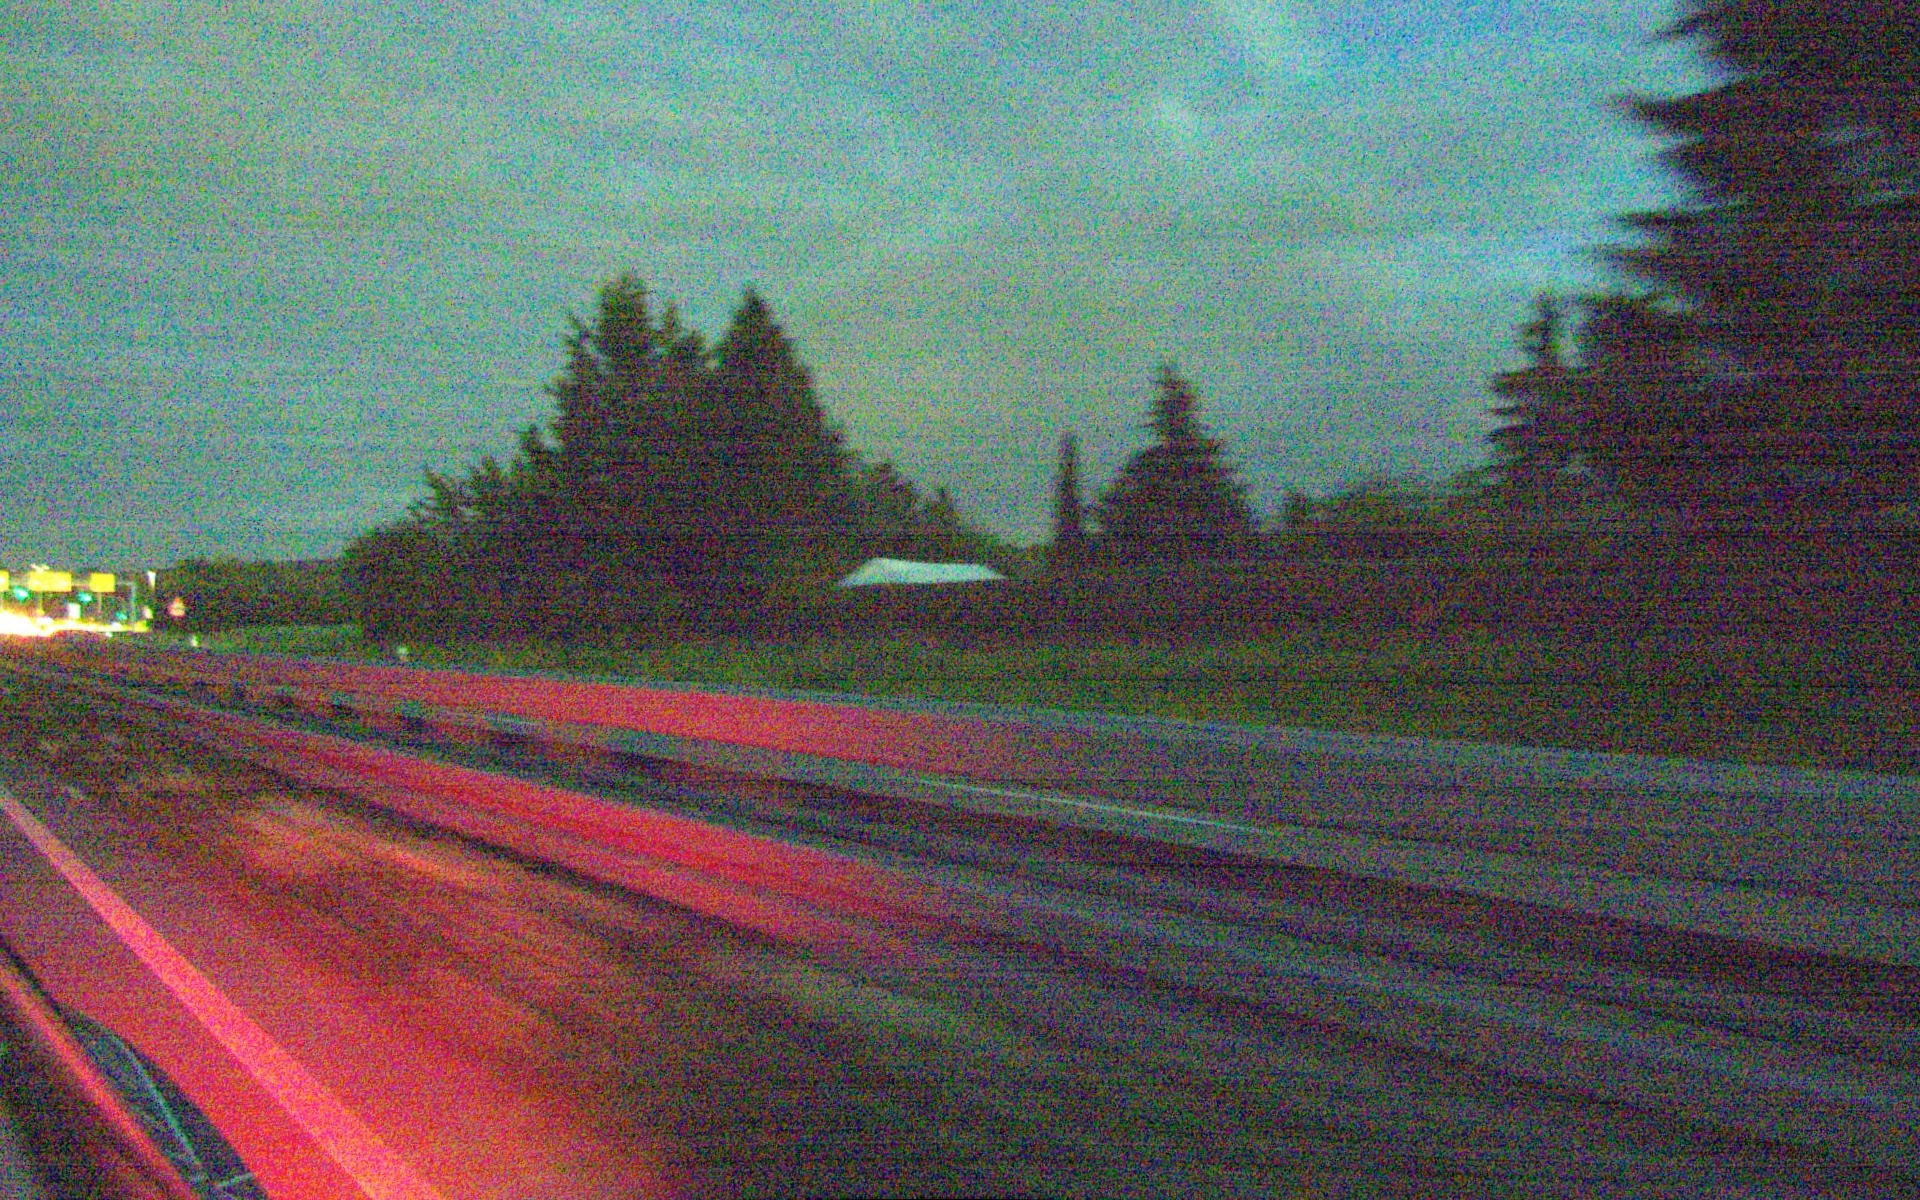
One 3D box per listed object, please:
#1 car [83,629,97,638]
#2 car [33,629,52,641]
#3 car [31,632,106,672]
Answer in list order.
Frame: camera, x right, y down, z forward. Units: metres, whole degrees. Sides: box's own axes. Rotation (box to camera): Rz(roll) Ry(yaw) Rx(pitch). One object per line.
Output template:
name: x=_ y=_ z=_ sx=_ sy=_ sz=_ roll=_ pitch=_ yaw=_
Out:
car: x=-144.743 y=5.573 z=168.410 sx=1.632 sy=1.487 sz=4.007 roll=0 pitch=0 yaw=-39
car: x=-119.010 y=4.526 z=131.320 sx=1.698 sy=1.458 sz=4.388 roll=0 pitch=0 yaw=-40
car: x=-35.847 y=2.054 z=40.640 sx=4.572 sy=1.418 sz=1.702 roll=-1 pitch=0 yaw=41
